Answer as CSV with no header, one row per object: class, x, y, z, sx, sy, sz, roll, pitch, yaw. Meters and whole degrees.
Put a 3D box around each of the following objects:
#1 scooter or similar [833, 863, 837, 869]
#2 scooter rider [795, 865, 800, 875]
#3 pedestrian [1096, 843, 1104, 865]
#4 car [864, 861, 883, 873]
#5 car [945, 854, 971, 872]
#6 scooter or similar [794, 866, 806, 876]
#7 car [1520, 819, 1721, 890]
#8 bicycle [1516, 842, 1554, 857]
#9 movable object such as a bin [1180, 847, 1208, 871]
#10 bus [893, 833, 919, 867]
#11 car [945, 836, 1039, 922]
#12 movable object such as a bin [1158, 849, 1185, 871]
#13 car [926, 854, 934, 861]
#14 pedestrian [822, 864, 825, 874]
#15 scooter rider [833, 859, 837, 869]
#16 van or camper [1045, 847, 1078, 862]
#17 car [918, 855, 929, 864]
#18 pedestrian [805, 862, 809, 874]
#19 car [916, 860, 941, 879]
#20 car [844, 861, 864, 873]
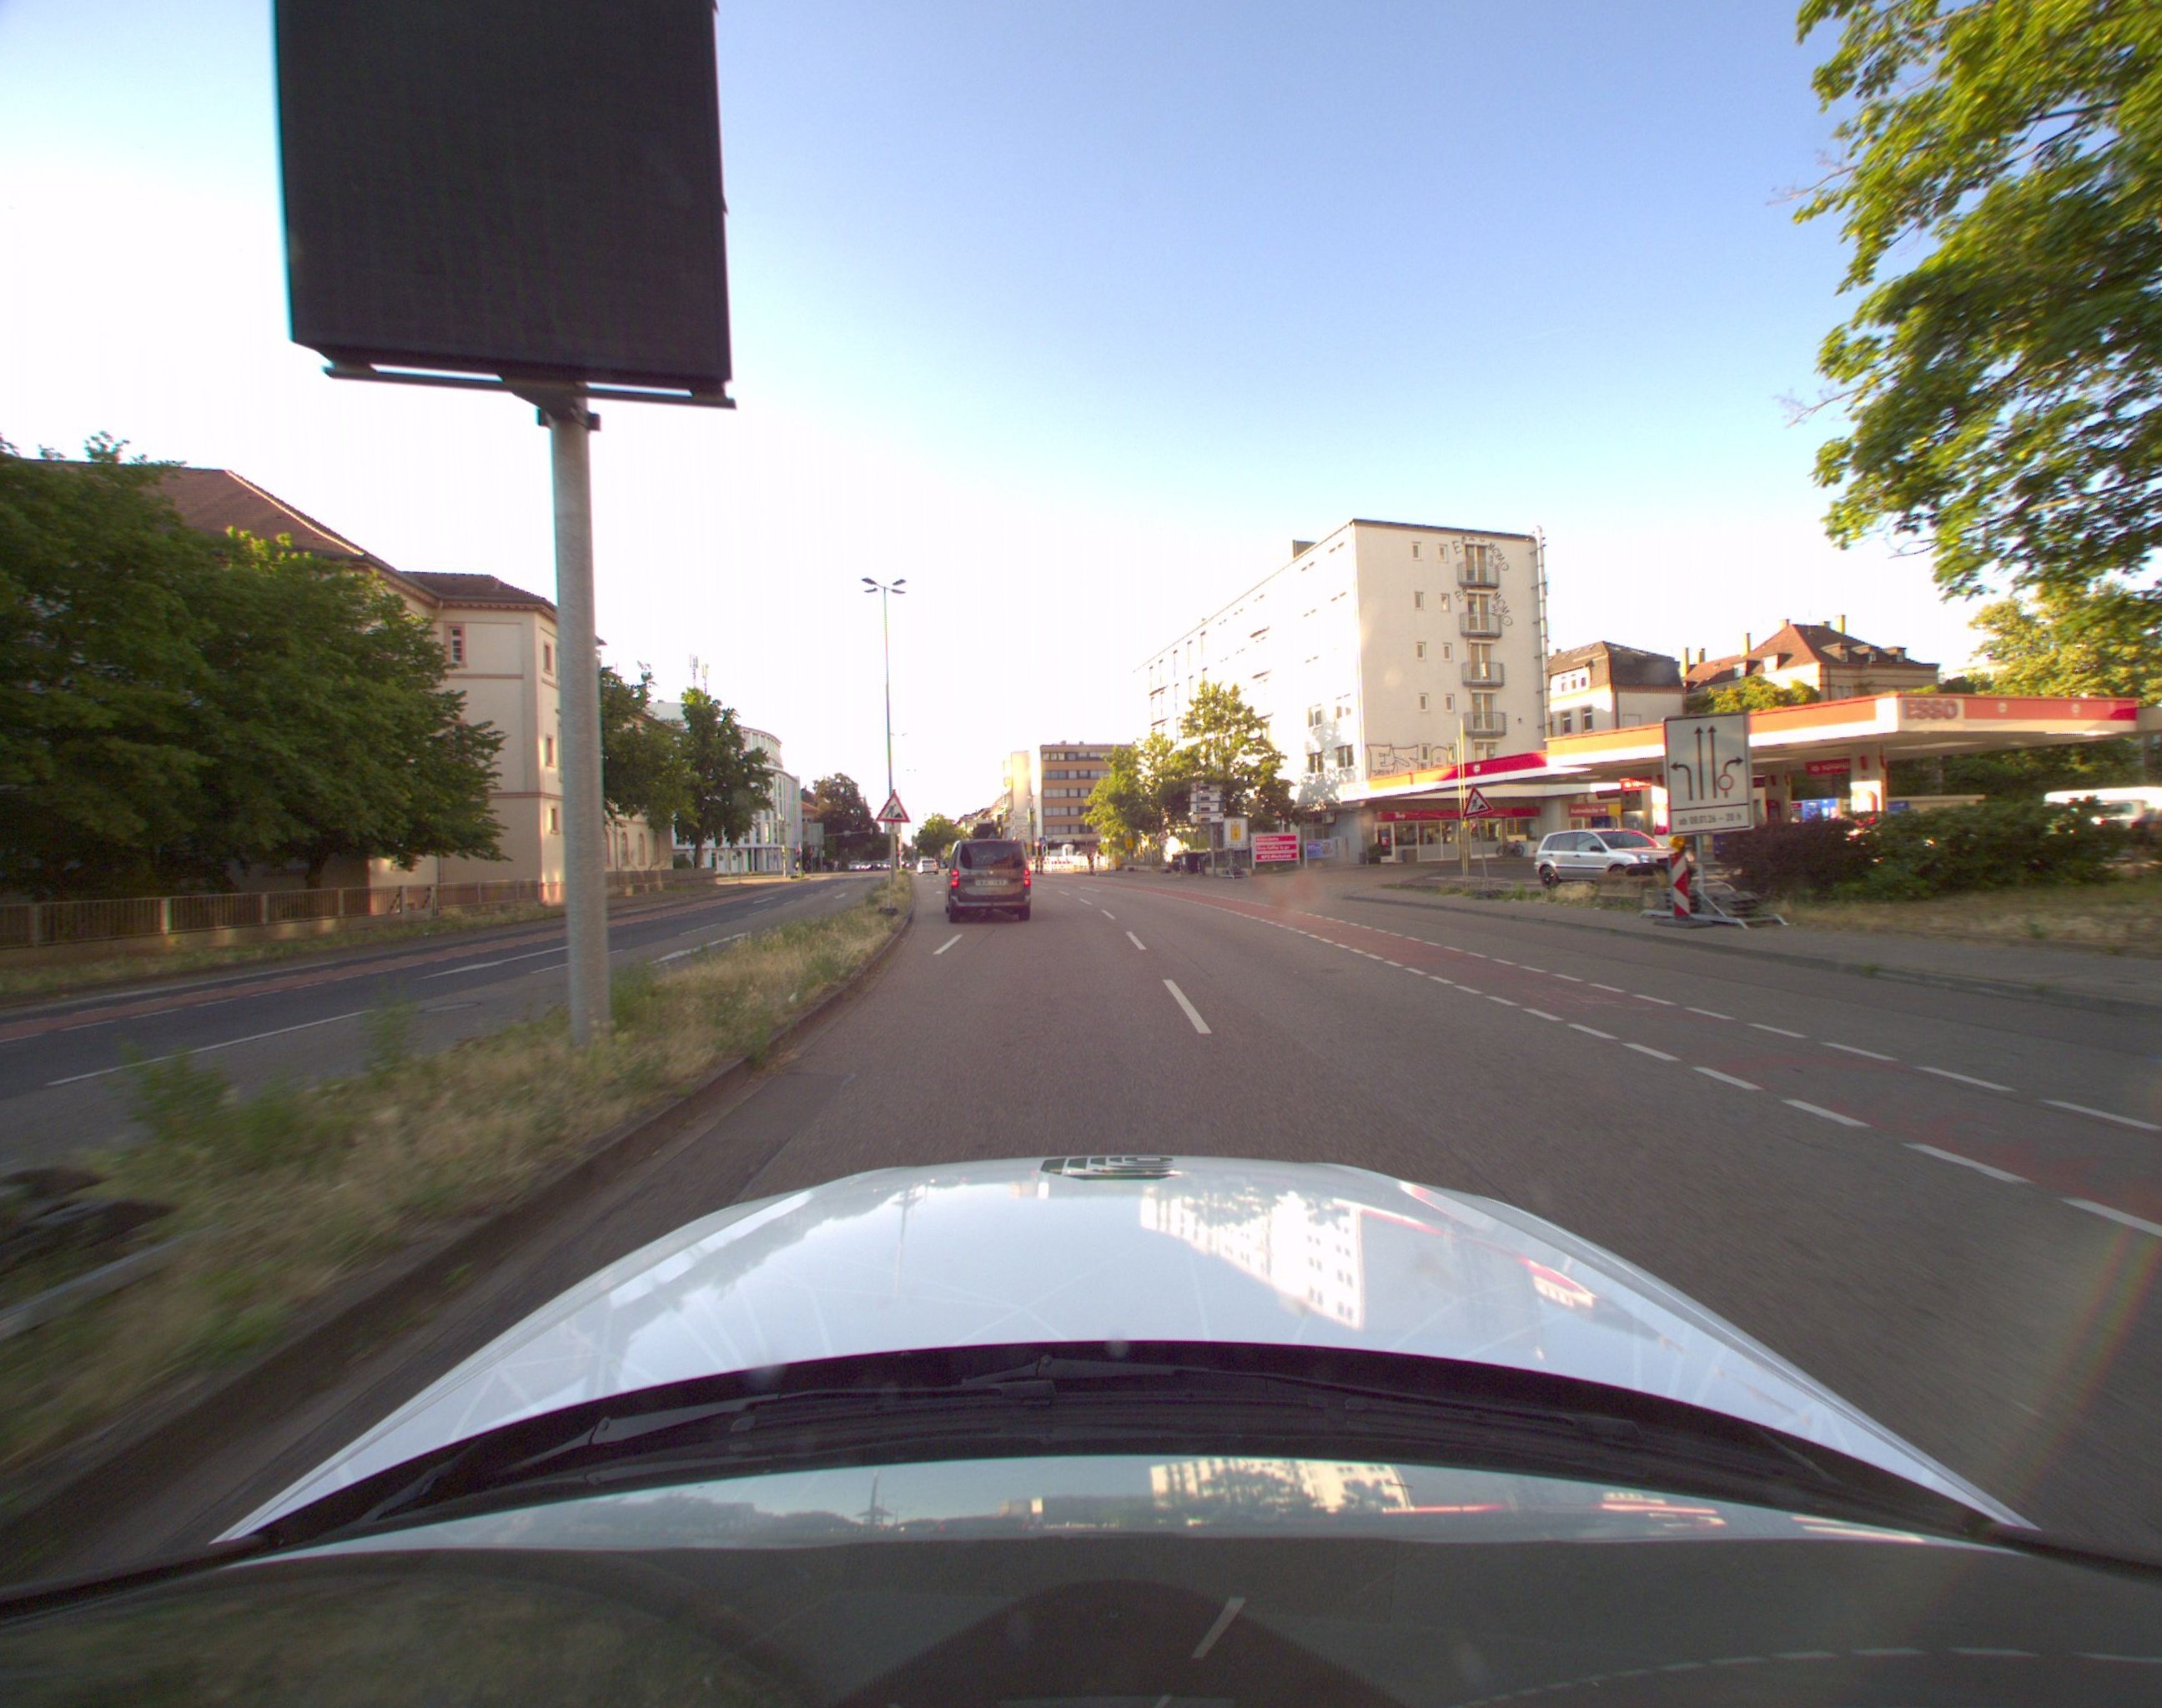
scooter or similar,-35.284,1.735,116.833,0.358,0.895,0.901,-2,0,-10
scooter rider,-28.417,1.579,81.661,0.511,1.036,0.443,-1,0,-22
pedestrian,1.770,0.002,76.697,0.491,2.013,0.661,-2,0,-13
car,-31.094,1.926,122.128,1.990,1.595,3.994,-2,0,-4
car,-11.799,0.852,78.005,1.996,1.656,4.279,-2,0,-14
scooter or similar,-28.200,1.685,81.738,1.103,0.976,0.555,-1,0,-22
car,13.234,0.010,20.367,1.770,1.530,4.341,-2,0,-7
bicycle,25.527,-0.252,45.828,0.624,0.829,1.797,-3,1,-31
movable object such as a bin,7.068,0.313,51.013,1.459,1.454,1.545,-2,0,-3
bus,-25.379,-0.503,117.638,3.295,4.617,9.950,-1,0,-14
car,-2.315,0.529,20.178,1.994,1.900,4.283,0,0,-11
movable object such as a bin,6.020,0.373,54.311,1.459,1.386,1.545,-2,0,-3
car,-41.372,0.935,223.380,1.852,1.708,3.705,-2,0,-16
pedestrian,-37.261,2.168,117.826,0.354,1.290,0.378,-2,0,-11
scooter rider,-35.288,1.443,116.809,0.355,1.373,0.336,-2,0,-11
van or camper,-2.899,0.027,121.302,4.566,2.013,1.993,-3,0,-11
car,-33.675,1.205,174.064,1.852,1.708,3.705,-2,0,-16
pedestrian,-36.711,1.895,109.030,0.377,1.659,0.565,-2,0,-22
car,-14.364,1.461,76.556,1.996,1.656,4.279,-2,0,-14
car,-33.774,1.886,121.215,1.990,1.595,3.994,-2,0,-4
